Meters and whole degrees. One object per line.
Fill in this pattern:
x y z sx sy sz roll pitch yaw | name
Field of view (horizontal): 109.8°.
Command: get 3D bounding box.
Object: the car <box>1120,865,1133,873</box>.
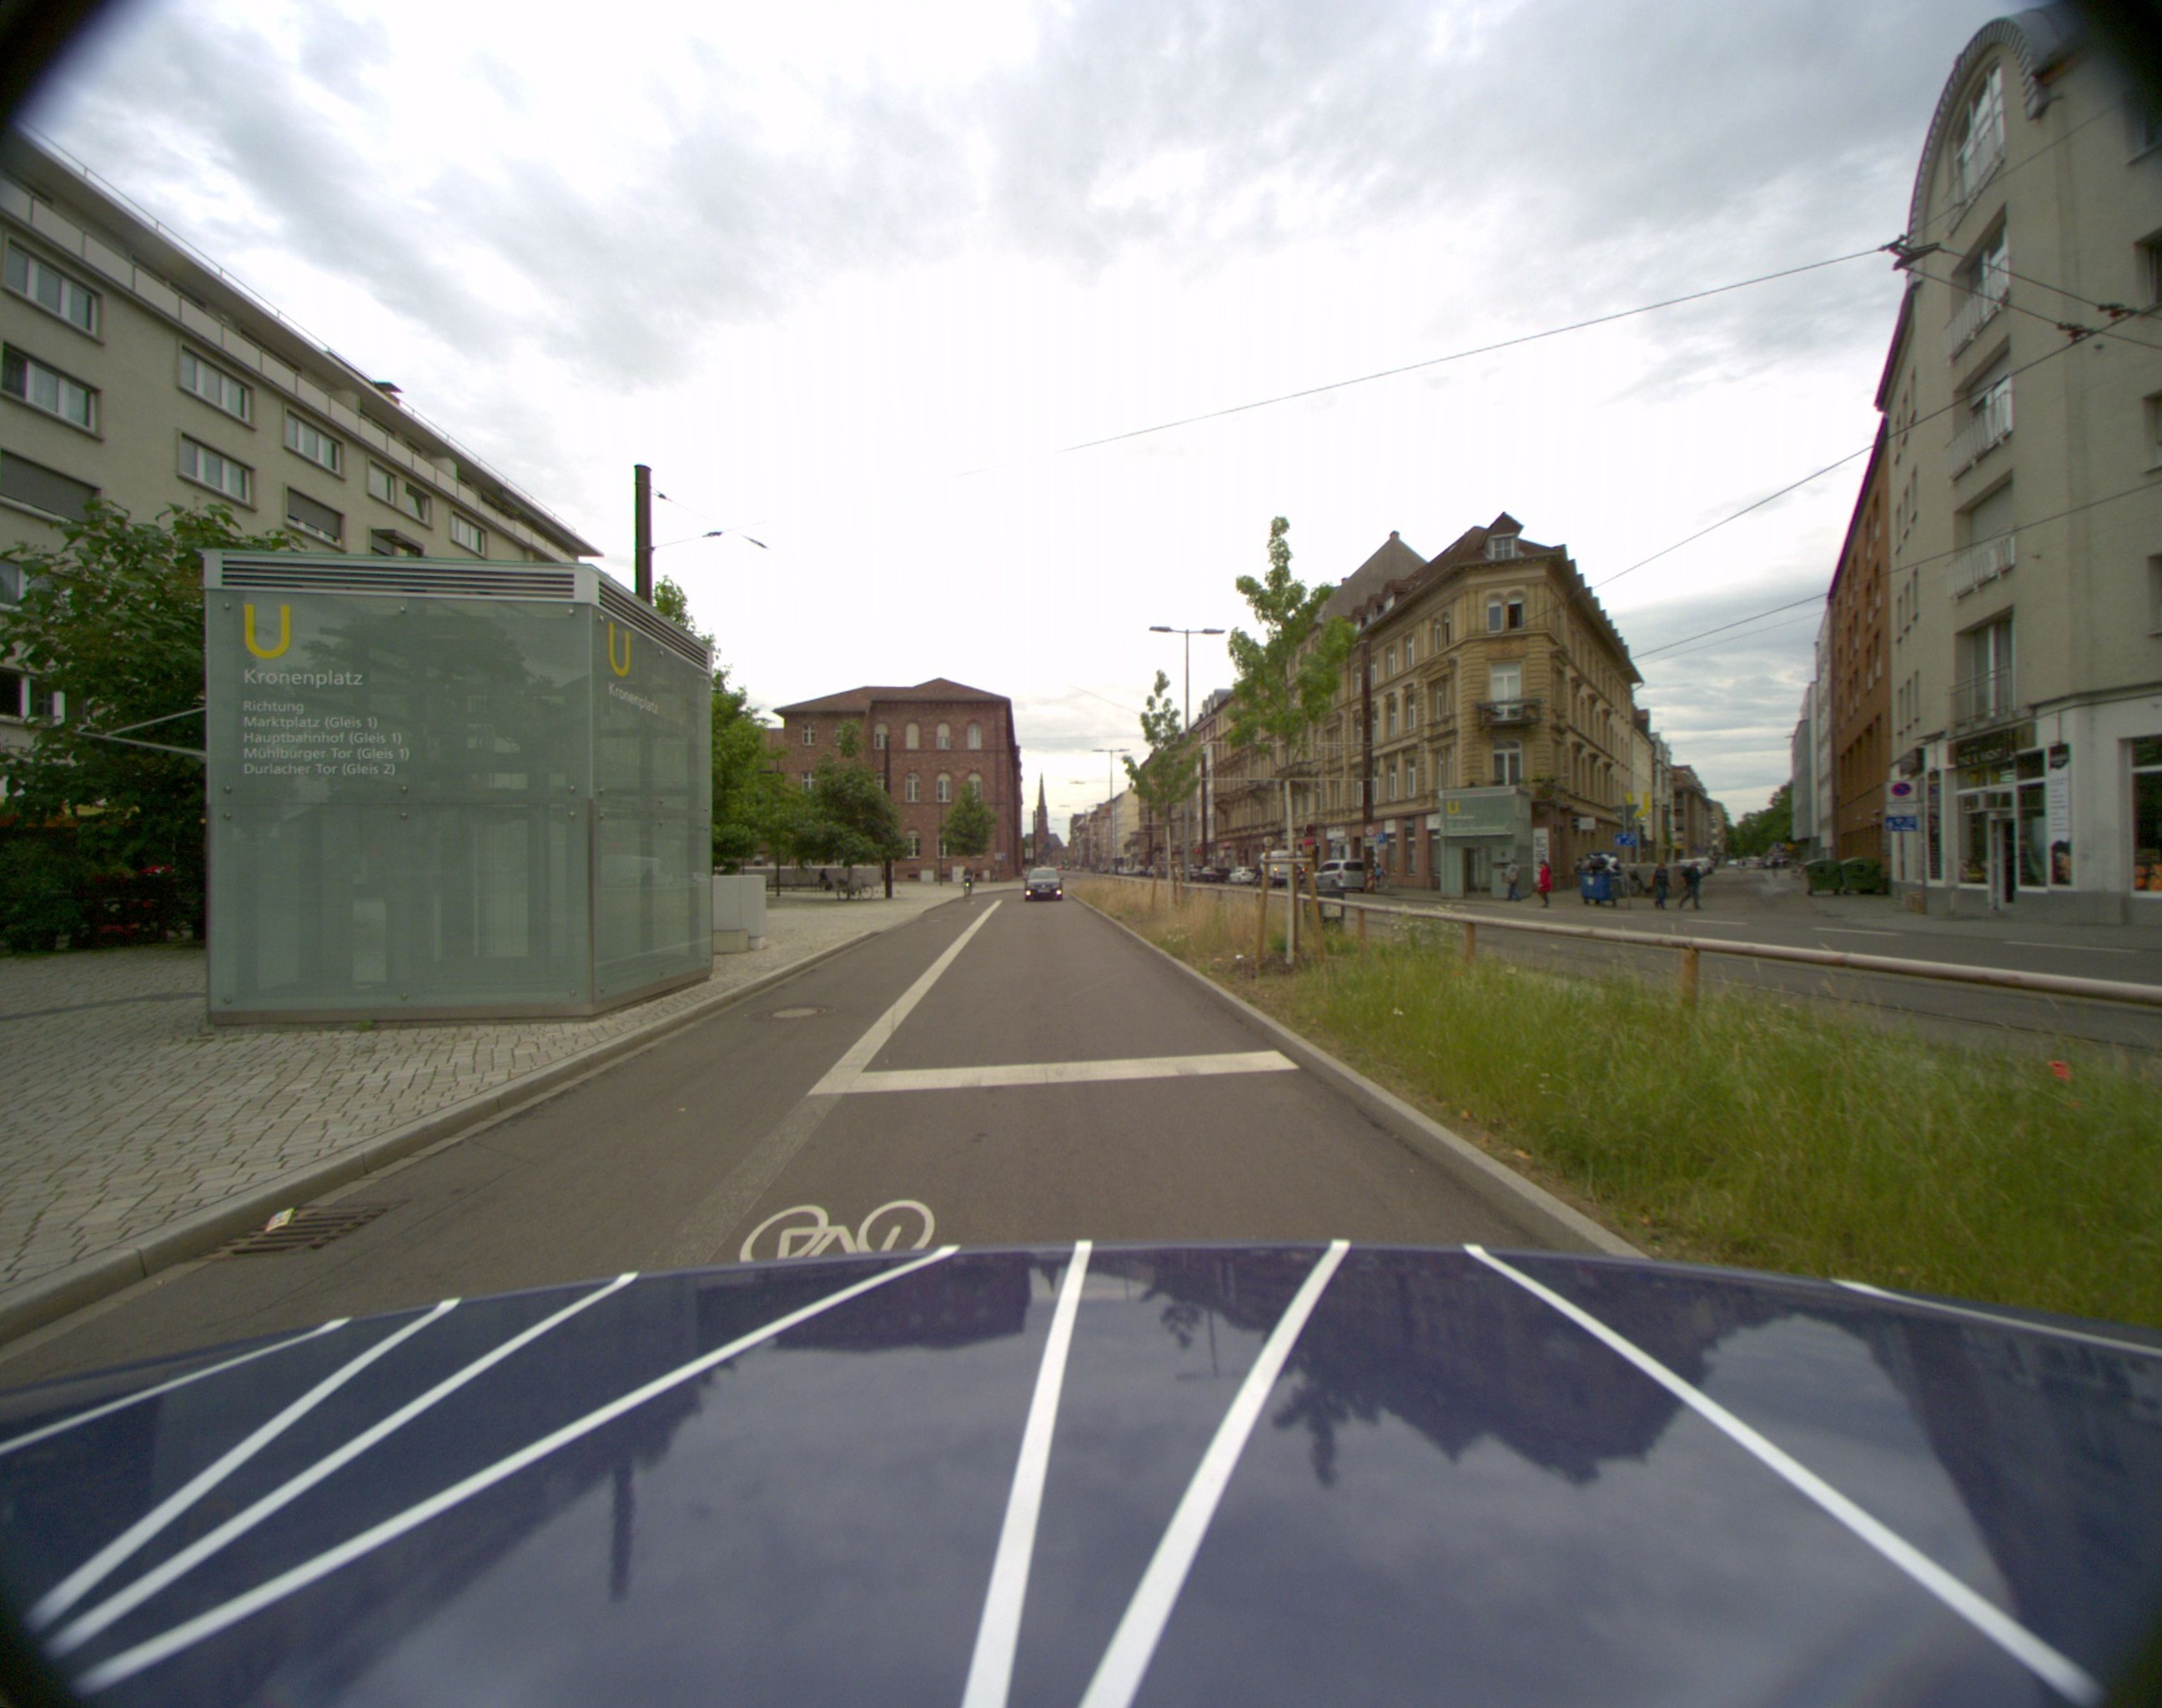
8.062 2.597 134.188 1.749 1.455 4.045 0 -1 -4 | car

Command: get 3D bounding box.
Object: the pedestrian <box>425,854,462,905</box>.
-23.860 0.951 28.451 0.774 1.874 0.854 -2 0 35 | pedestrian

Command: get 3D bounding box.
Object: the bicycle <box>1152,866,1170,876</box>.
10.599 2.261 100.955 2.288 1.196 0.547 -1 0 -3 | bicycle

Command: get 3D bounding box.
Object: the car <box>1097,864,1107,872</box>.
4.905 3.283 179.660 1.929 1.722 3.825 -2 0 -4 | car

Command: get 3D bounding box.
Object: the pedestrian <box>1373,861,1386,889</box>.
16.622 1.182 42.317 0.554 1.547 0.658 -2 0 14 | pedestrian

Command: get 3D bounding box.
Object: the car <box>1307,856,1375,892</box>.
14.307 1.092 42.101 1.908 1.853 4.518 1 -1 -5 | car

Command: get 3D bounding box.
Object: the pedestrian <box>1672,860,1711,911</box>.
20.875 1.070 26.006 0.661 1.677 0.924 0 1 12 | pedestrian

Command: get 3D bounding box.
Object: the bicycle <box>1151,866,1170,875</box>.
10.502 2.141 100.263 2.288 1.196 0.705 1 0 -3 | bicycle

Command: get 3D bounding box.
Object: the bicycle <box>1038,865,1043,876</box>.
-4.212 1.710 78.119 0.472 1.151 2.272 -1 0 -4 | bicycle

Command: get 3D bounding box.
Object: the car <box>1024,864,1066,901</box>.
-1.688 1.249 34.552 1.748 1.537 3.649 -1 0 -5 | car

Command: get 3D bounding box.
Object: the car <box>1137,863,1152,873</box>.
9.611 2.067 115.165 1.748 1.479 3.920 0 -1 -3 | car

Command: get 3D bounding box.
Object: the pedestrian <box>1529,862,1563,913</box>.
15.876 1.139 25.930 0.723 1.677 0.661 -1 1 -14 | pedestrian

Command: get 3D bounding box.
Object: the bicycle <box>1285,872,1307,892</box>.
11.490 1.504 40.609 0.477 1.015 1.911 0 0 -5 | bicycle

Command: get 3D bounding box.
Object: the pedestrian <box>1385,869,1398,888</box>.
17.225 1.378 42.157 0.555 1.024 0.453 -2 0 5 | pedestrian

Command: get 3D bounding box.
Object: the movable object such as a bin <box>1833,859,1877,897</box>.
29.993 0.920 29.459 1.008 1.397 1.241 -2 0 38 | movable object such as a bin

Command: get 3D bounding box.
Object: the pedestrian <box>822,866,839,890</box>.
-15.471 1.454 46.881 0.781 1.447 0.766 2 0 -33 | pedestrian

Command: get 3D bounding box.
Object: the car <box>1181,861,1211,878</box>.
11.909 1.639 78.754 1.819 1.679 5.029 0 -1 -6 | car

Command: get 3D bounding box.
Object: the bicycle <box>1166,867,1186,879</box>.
11.212 2.226 89.964 2.288 1.321 0.666 1 0 -3 | bicycle

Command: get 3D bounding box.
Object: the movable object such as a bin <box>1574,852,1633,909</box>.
18.618 0.922 27.110 1.033 1.970 1.617 0 1 3 | movable object such as a bin

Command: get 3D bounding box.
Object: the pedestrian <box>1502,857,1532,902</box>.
16.506 0.943 28.786 0.823 1.677 0.723 0 1 14 | pedestrian

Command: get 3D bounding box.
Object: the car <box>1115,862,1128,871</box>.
7.352 2.299 138.744 1.829 1.512 4.544 0 -1 -3 | car

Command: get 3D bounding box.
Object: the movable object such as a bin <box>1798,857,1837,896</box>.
29.242 0.890 30.184 0.944 1.492 1.241 -2 0 38 | movable object such as a bin

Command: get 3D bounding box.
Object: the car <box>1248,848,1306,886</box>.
13.511 0.886 52.717 2.059 2.472 5.664 2 -1 -5 | car

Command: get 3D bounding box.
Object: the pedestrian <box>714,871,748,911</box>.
-12.349 1.301 26.836 0.629 1.358 0.920 -2 0 14 | pedestrian

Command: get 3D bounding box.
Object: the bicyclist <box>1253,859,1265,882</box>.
11.184 1.038 47.668 0.480 1.398 0.811 0 0 -5 | bicyclist

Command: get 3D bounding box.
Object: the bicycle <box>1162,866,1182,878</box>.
11.083 2.203 92.592 2.288 1.321 0.666 1 0 -3 | bicycle

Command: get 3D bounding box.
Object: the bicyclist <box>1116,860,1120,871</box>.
6.451 1.967 132.830 0.647 1.872 1.028 -2 0 -2 | bicyclist

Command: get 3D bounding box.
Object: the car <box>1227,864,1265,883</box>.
13.125 1.495 60.553 1.776 1.414 4.163 2 -1 -5 | car

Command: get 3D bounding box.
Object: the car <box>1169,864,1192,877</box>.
11.327 1.850 86.706 1.749 1.479 3.919 0 -1 -4 | car

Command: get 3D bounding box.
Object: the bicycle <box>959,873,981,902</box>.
-5.096 1.543 34.969 0.524 1.253 1.942 -1 0 5 | bicycle

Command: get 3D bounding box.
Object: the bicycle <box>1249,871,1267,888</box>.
11.128 1.602 47.833 0.480 1.015 1.911 0 0 -5 | bicycle

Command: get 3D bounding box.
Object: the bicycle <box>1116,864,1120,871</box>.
6.487 2.305 132.830 0.586 1.167 2.044 1 0 -2 | bicycle

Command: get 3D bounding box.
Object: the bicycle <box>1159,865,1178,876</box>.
11.038 2.133 96.248 2.288 1.321 0.666 1 0 -3 | bicycle

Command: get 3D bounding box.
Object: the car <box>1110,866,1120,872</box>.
6.880 3.045 153.787 1.652 1.372 3.435 0 -1 -7 | car

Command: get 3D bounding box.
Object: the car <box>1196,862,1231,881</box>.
12.128 1.585 69.944 1.925 1.679 5.050 2 -1 -5 | car

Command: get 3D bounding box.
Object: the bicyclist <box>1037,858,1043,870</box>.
-4.192 1.044 78.198 0.587 1.164 0.662 -1 0 -4 | bicyclist

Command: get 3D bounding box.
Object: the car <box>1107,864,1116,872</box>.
6.379 2.908 158.488 1.707 1.746 3.919 0 -1 -2 | car

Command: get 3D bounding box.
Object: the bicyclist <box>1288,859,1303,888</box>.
11.485 1.052 40.692 0.492 1.531 0.811 0 0 -5 | bicyclist

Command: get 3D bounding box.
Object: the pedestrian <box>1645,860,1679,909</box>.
20.034 1.041 26.205 0.661 1.677 0.723 0 1 12 | pedestrian

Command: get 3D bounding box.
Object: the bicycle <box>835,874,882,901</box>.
-10.106 1.521 34.502 1.918 1.116 0.645 -2 0 7 | bicycle

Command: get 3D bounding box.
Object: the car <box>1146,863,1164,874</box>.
10.238 1.970 104.999 1.749 1.524 4.224 0 -1 -4 | car

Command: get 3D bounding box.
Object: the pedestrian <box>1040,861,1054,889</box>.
-2.298 1.402 51.036 0.872 1.890 0.773 1 -1 -5 | pedestrian

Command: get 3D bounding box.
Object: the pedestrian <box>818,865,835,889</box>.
-15.948 1.457 47.575 0.781 1.447 0.766 2 0 -33 | pedestrian

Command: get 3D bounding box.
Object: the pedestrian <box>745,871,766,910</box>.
-11.634 1.304 27.156 0.630 1.358 0.686 -2 0 -22 | pedestrian

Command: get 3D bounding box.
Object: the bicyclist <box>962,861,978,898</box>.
-5.095 1.149 34.894 0.570 1.674 0.794 -1 0 4 | bicyclist

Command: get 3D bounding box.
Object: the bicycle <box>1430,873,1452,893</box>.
18.131 1.451 38.299 0.340 0.953 1.688 -2 0 3 | bicycle
